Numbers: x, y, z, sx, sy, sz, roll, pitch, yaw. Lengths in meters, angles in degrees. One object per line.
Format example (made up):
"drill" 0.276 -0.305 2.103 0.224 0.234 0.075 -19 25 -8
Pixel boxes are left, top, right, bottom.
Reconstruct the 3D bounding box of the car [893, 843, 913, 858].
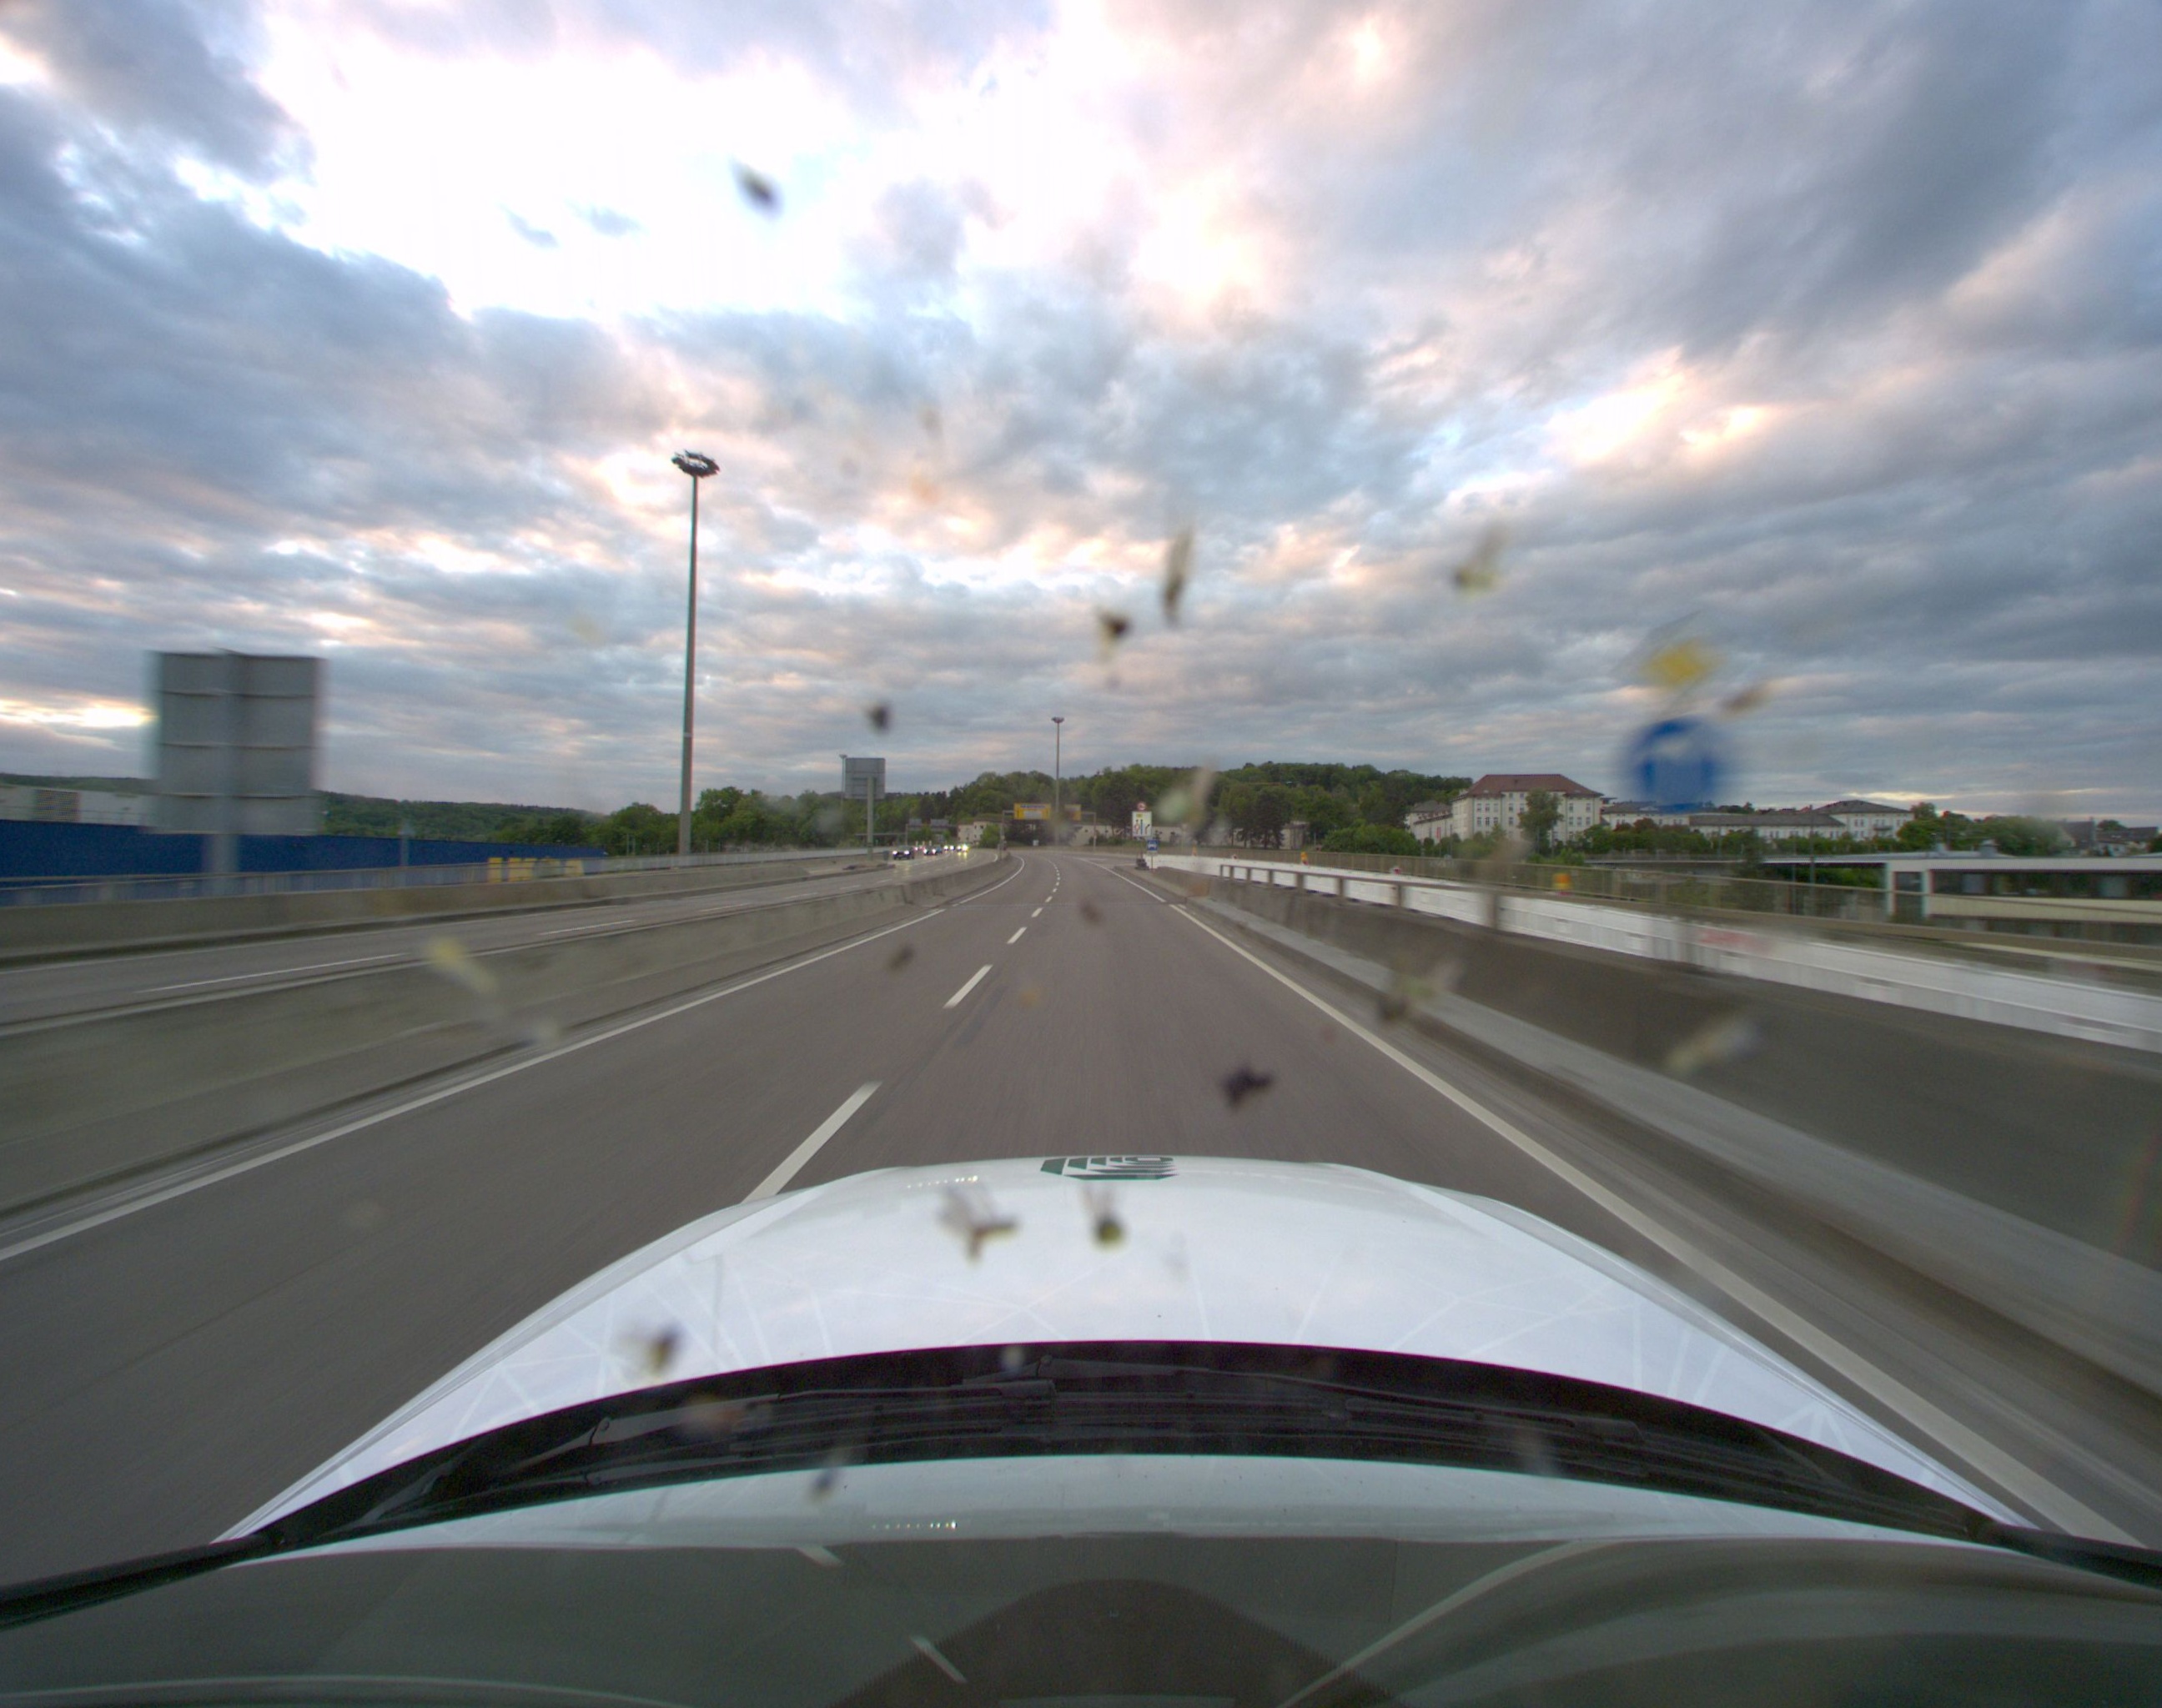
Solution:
"car" -20.758 -0.390 94.990 1.632 1.717 3.996 1 0 -3

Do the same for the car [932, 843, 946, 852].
"car" -24.072 -1.135 138.462 1.894 1.596 4.157 -1 1 -4

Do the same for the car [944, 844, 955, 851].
"car" -32.908 -1.585 203.687 1.815 1.534 4.521 5 0 -17

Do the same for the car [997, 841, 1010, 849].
"car" -17.803 -2.095 187.528 2.308 1.763 4.241 1 0 -15

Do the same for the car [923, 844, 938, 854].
"car" -22.163 -0.746 120.036 1.793 1.486 3.835 0 0 -5

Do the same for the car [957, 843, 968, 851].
"car" -22.306 -1.355 152.929 1.712 1.494 4.063 2 0 -13
